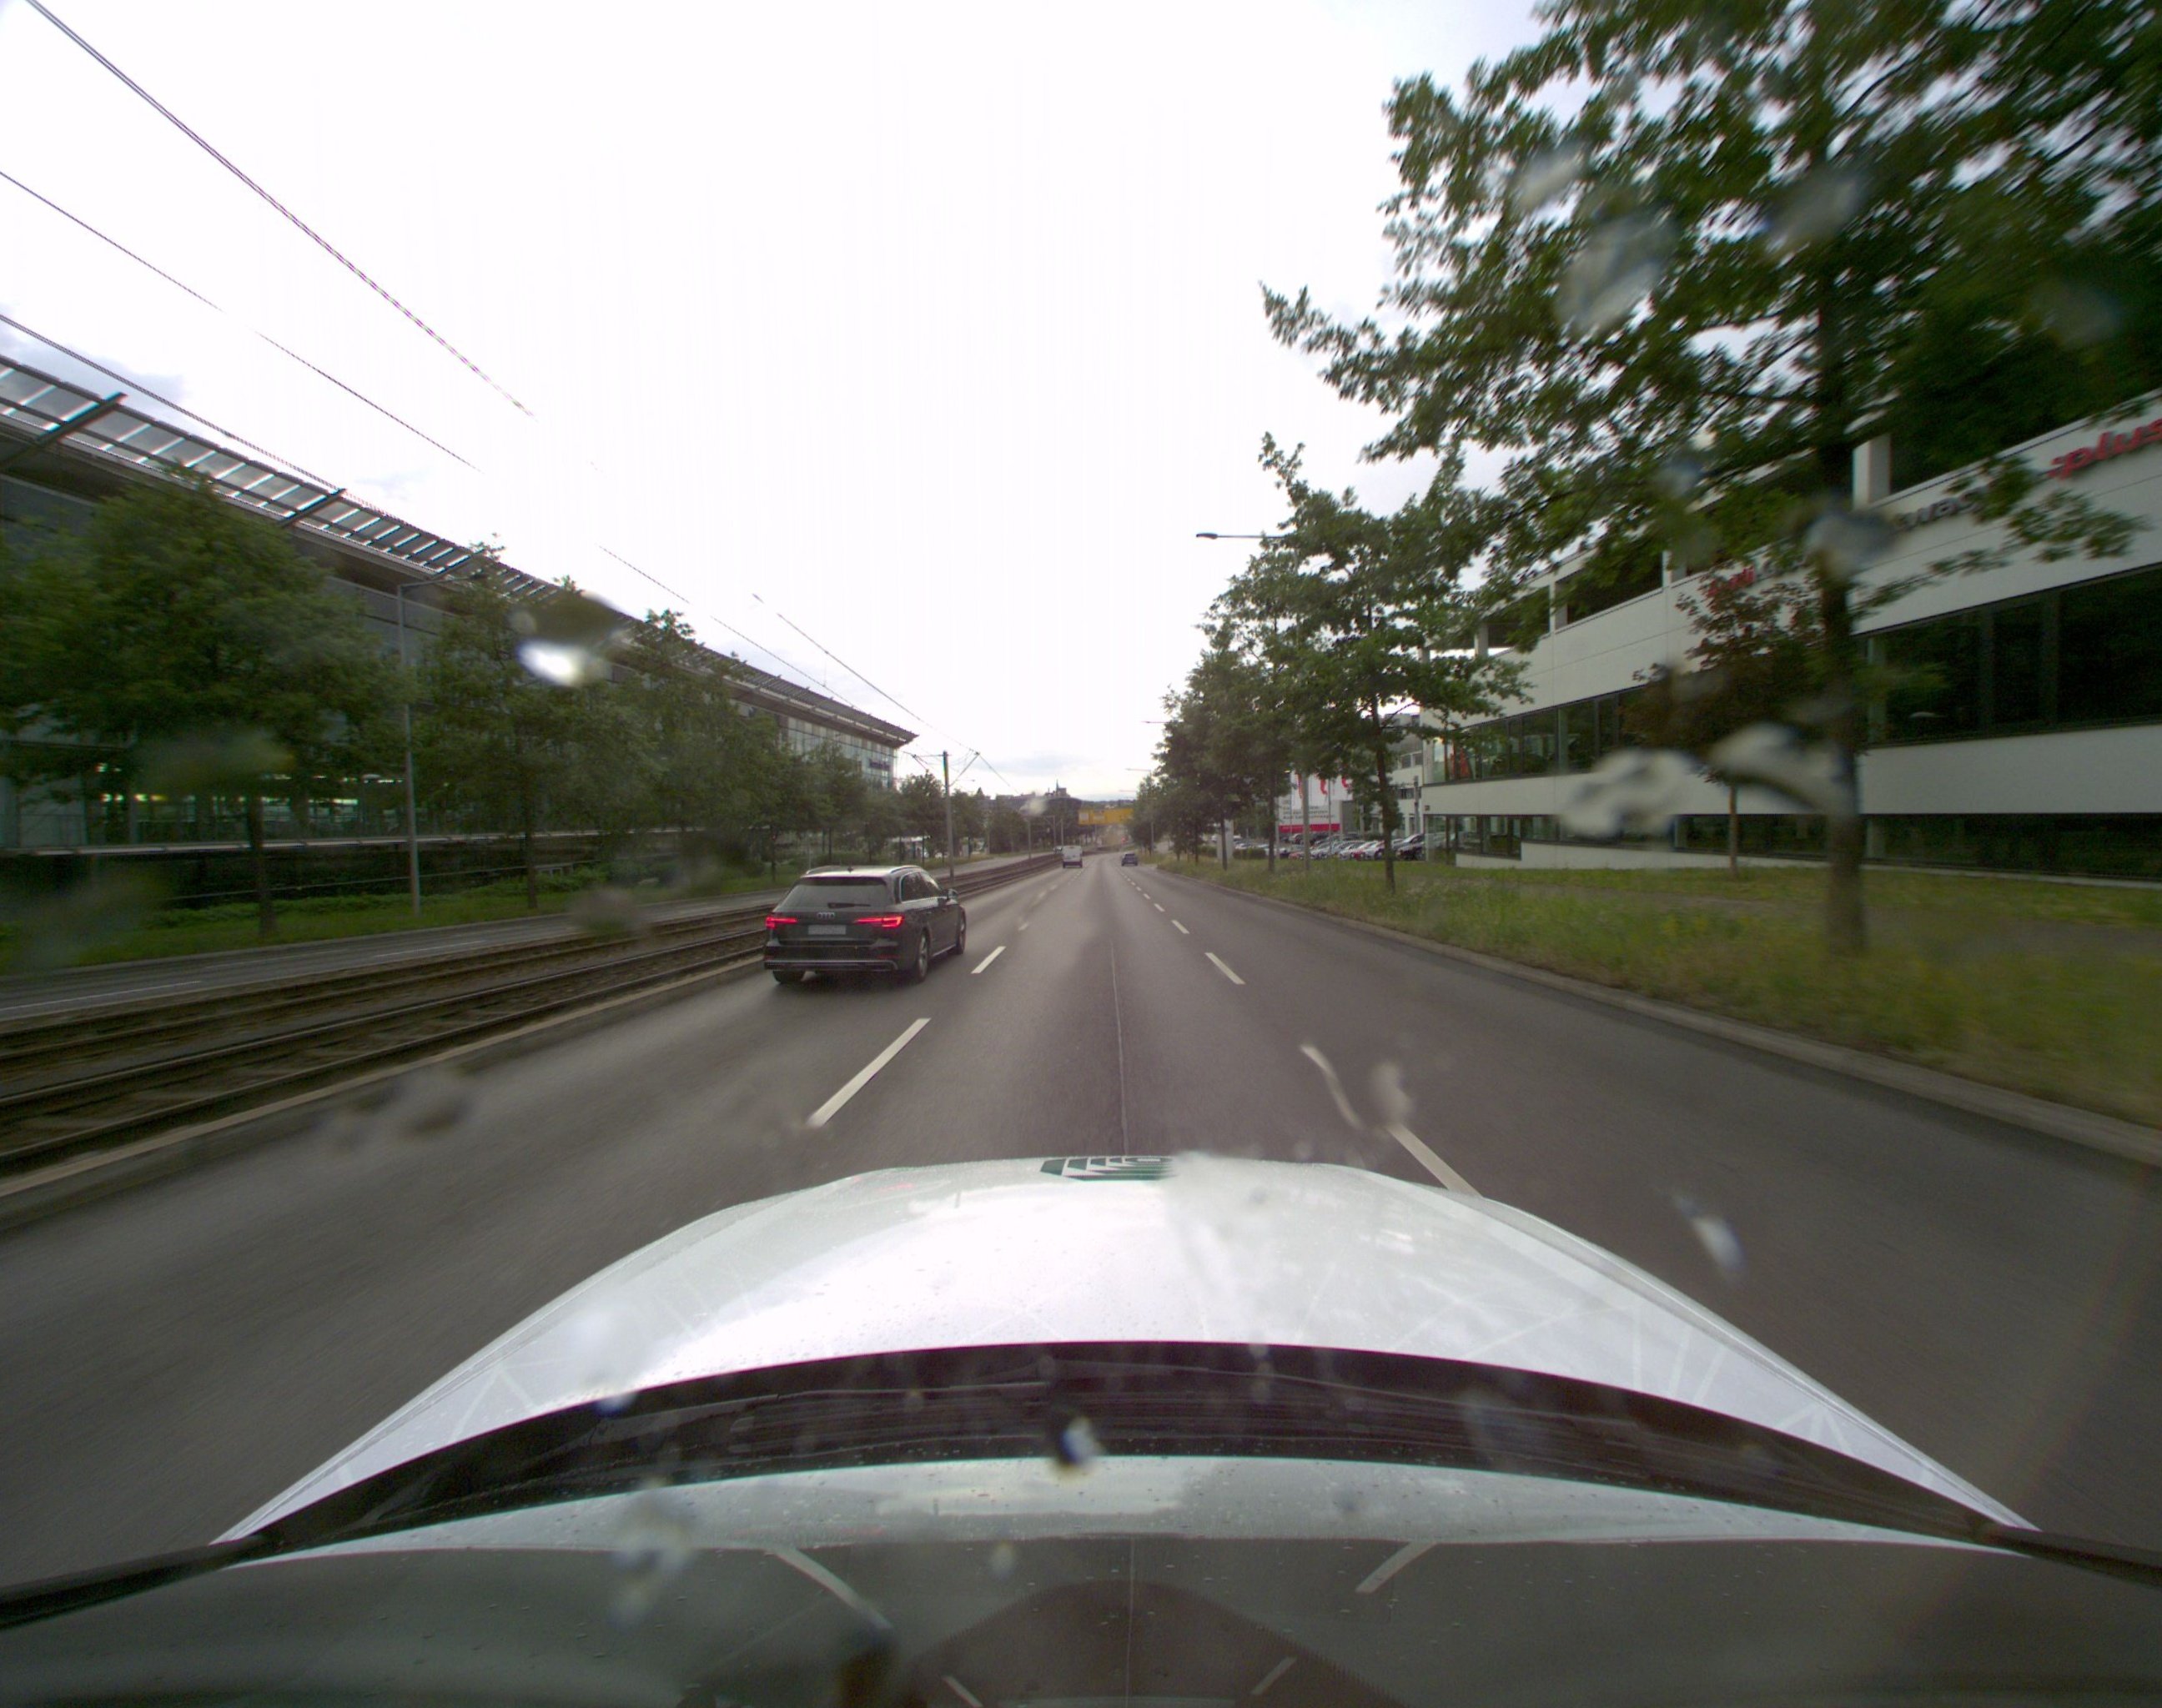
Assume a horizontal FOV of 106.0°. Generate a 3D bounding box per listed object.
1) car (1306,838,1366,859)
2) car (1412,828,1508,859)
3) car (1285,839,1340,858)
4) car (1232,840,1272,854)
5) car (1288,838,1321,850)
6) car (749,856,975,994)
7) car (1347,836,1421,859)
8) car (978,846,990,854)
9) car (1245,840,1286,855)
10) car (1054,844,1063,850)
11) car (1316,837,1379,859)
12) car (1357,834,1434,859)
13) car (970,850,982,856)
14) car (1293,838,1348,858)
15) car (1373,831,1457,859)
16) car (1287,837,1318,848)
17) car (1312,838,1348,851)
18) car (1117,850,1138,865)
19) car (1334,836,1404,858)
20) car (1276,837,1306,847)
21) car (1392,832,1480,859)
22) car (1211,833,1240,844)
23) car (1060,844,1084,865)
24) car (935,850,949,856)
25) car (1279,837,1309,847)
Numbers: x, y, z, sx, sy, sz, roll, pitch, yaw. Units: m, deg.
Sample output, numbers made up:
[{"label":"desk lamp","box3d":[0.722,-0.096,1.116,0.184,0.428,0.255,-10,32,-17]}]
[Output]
[{"label":"car","box3d":[21.452,-0.459,68.630,4.447,1.551,1.931,-3,0,0]},{"label":"car","box3d":[20.892,-0.564,44.969,4.383,1.481,1.931,-2,0,0]},{"label":"car","box3d":[21.164,-0.494,74.577,4.452,1.551,1.928,-2,0,-4]},{"label":"car","box3d":[21.124,-0.893,100.803,4.505,1.594,1.692,-2,-1,0]},{"label":"car","box3d":[31.121,-1.357,113.338,4.092,1.574,1.826,-1,1,0]},{"label":"car","box3d":[-2.692,0.782,11.216,1.758,1.463,4.628,0,0,1]},{"label":"car","box3d":[20.992,-0.456,56.599,4.383,1.348,1.931,-3,-1,0]},{"label":"car","box3d":[-22.662,-0.940,191.060,1.983,1.650,4.007,0,0,6]},{"label":"car","box3d":[20.598,-0.734,91.116,4.102,1.594,1.943,-1,-1,-8]},{"label":"car","box3d":[-5.859,-1.855,214.826,1.874,1.520,4.408,-4,1,4]},{"label":"car","box3d":[21.426,-0.493,65.648,4.447,1.528,1.931,-3,0,0]},{"label":"car","box3d":[20.705,-0.491,53.734,4.382,1.427,1.891,-3,-1,1]},{"label":"car","box3d":[-26.529,-0.235,206.148,2.003,1.510,3.968,0,0,-24]},{"label":"car","box3d":[20.950,-0.481,71.461,4.264,1.593,1.826,-2,-1,-2]},{"label":"car","box3d":[20.749,-0.536,50.754,4.382,1.500,2.040,-3,-1,1]},{"label":"car","box3d":[32.235,-1.716,118.570,4.092,1.574,1.692,-1,1,0]},{"label":"car","box3d":[32.400,-1.228,105.947,4.092,1.574,1.692,-2,0,0]},{"label":"car","box3d":[5.193,0.418,90.874,2.015,1.623,3.998,0,0,-1]},{"label":"car","box3d":[21.110,-0.514,59.817,4.447,1.456,1.931,-2,0,0]},{"label":"car","box3d":[32.569,-1.880,126.367,4.092,1.574,1.692,-1,1,0]},{"label":"car","box3d":[20.630,-0.478,47.427,4.307,1.378,1.835,-3,0,-2]},{"label":"car","box3d":[22.426,-2.396,126.389,4.245,1.574,1.692,-1,1,0]},{"label":"car","box3d":[-0.993,0.052,86.354,2.504,2.177,5.147,0,0,-1]},{"label":"car","box3d":[-34.654,-0.227,202.929,2.006,1.510,3.961,0,0,-30]},{"label":"car","box3d":[32.332,-1.830,123.642,4.092,1.574,1.759,-1,1,0]}]
